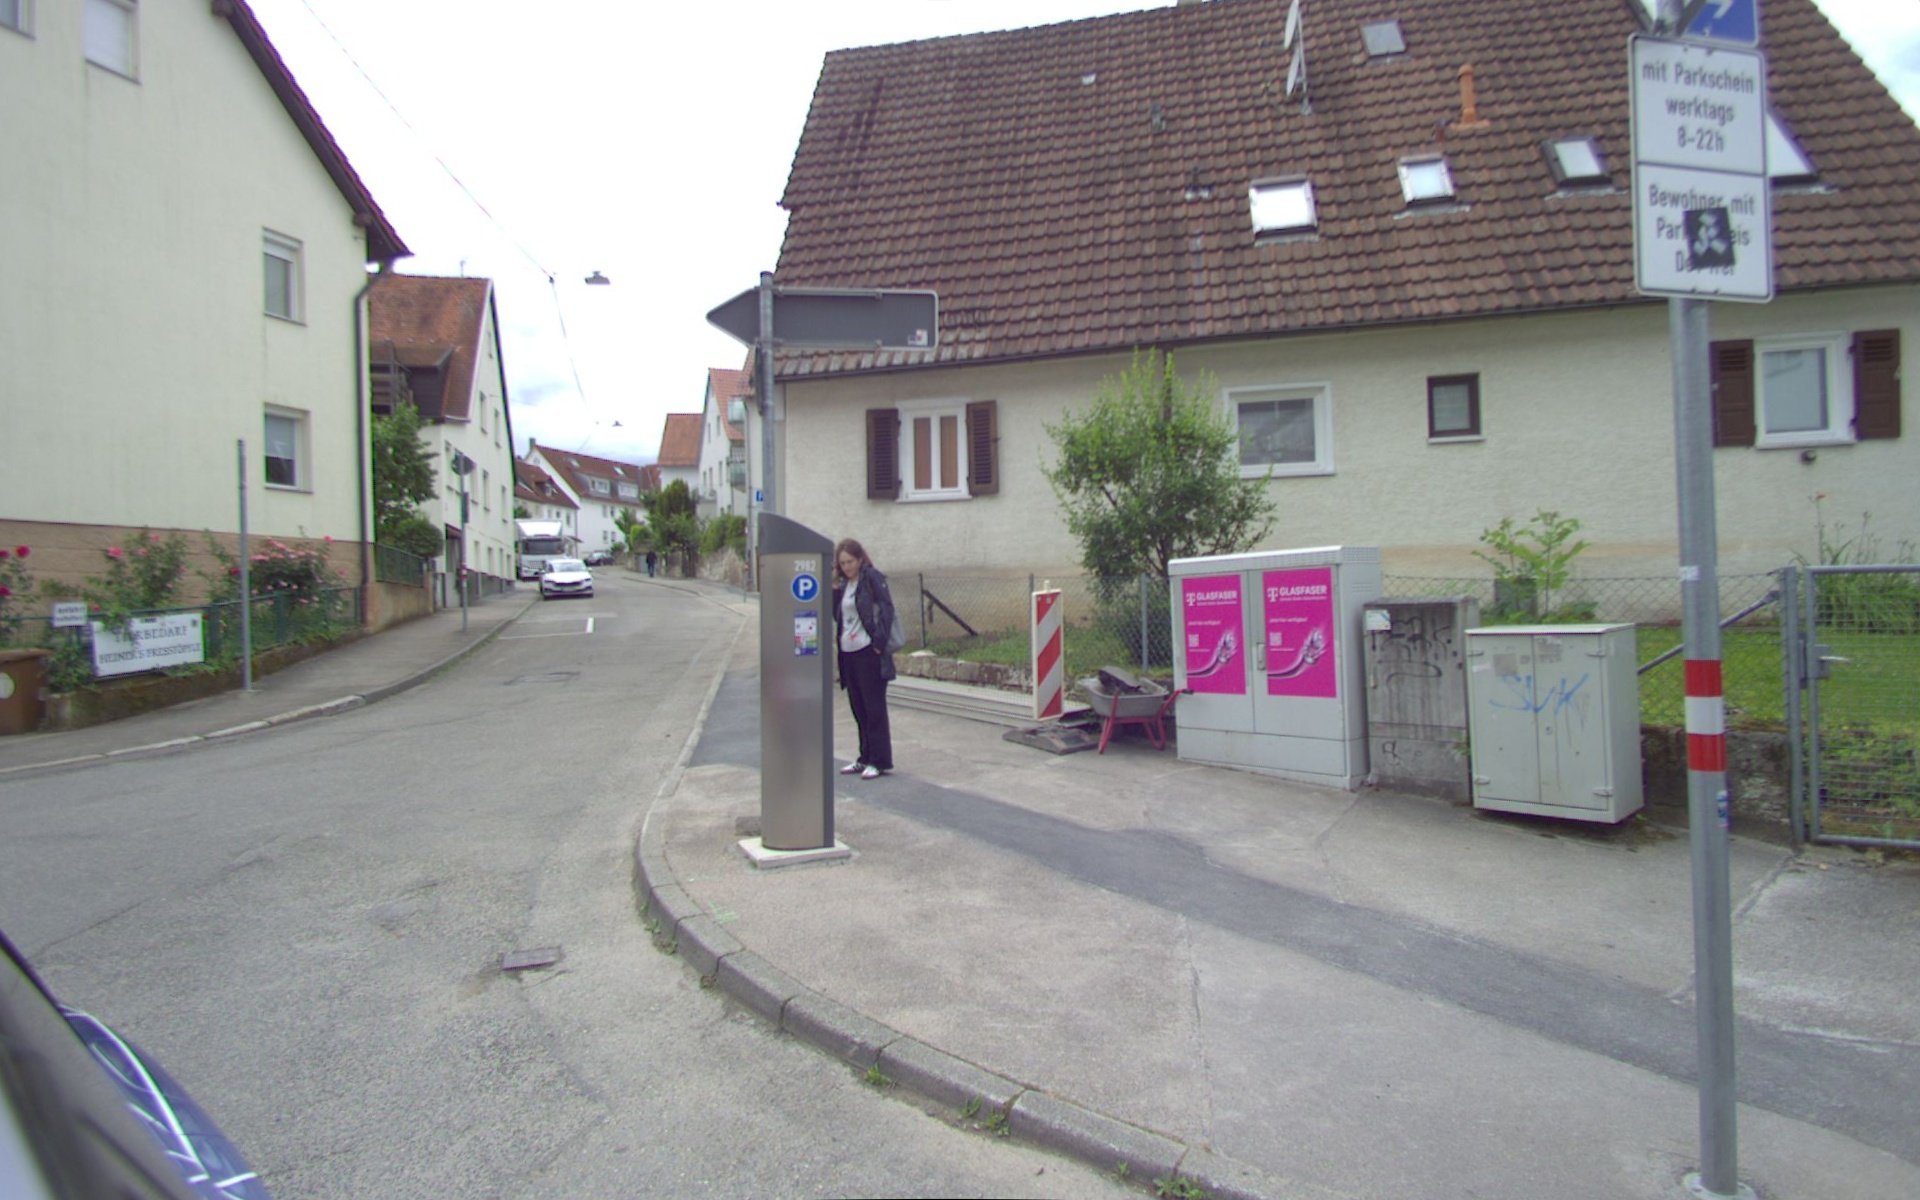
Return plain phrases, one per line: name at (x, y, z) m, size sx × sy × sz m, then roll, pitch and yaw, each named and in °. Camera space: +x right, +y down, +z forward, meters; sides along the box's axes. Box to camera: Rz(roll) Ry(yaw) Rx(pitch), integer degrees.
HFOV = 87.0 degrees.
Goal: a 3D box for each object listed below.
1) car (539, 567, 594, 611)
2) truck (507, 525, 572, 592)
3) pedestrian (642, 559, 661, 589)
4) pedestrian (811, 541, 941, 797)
car at (-15.085, -0.476, 38.689) m, size 1.769 × 1.456 × 4.313 m, roll -3°, pitch 4°, yaw -23°
truck at (-25.108, -2.419, 60.202) m, size 2.638 × 3.623 × 8.132 m, roll -3°, pitch 2°, yaw -28°
pedestrian at (-17.912, -1.533, 58.783) m, size 0.828 × 1.689 × 0.980 m, roll -4°, pitch 4°, yaw -26°
pedestrian at (-0.586, 0.450, 7.154) m, size 0.603 × 1.697 × 0.641 m, roll -1°, pitch 2°, yaw 35°
